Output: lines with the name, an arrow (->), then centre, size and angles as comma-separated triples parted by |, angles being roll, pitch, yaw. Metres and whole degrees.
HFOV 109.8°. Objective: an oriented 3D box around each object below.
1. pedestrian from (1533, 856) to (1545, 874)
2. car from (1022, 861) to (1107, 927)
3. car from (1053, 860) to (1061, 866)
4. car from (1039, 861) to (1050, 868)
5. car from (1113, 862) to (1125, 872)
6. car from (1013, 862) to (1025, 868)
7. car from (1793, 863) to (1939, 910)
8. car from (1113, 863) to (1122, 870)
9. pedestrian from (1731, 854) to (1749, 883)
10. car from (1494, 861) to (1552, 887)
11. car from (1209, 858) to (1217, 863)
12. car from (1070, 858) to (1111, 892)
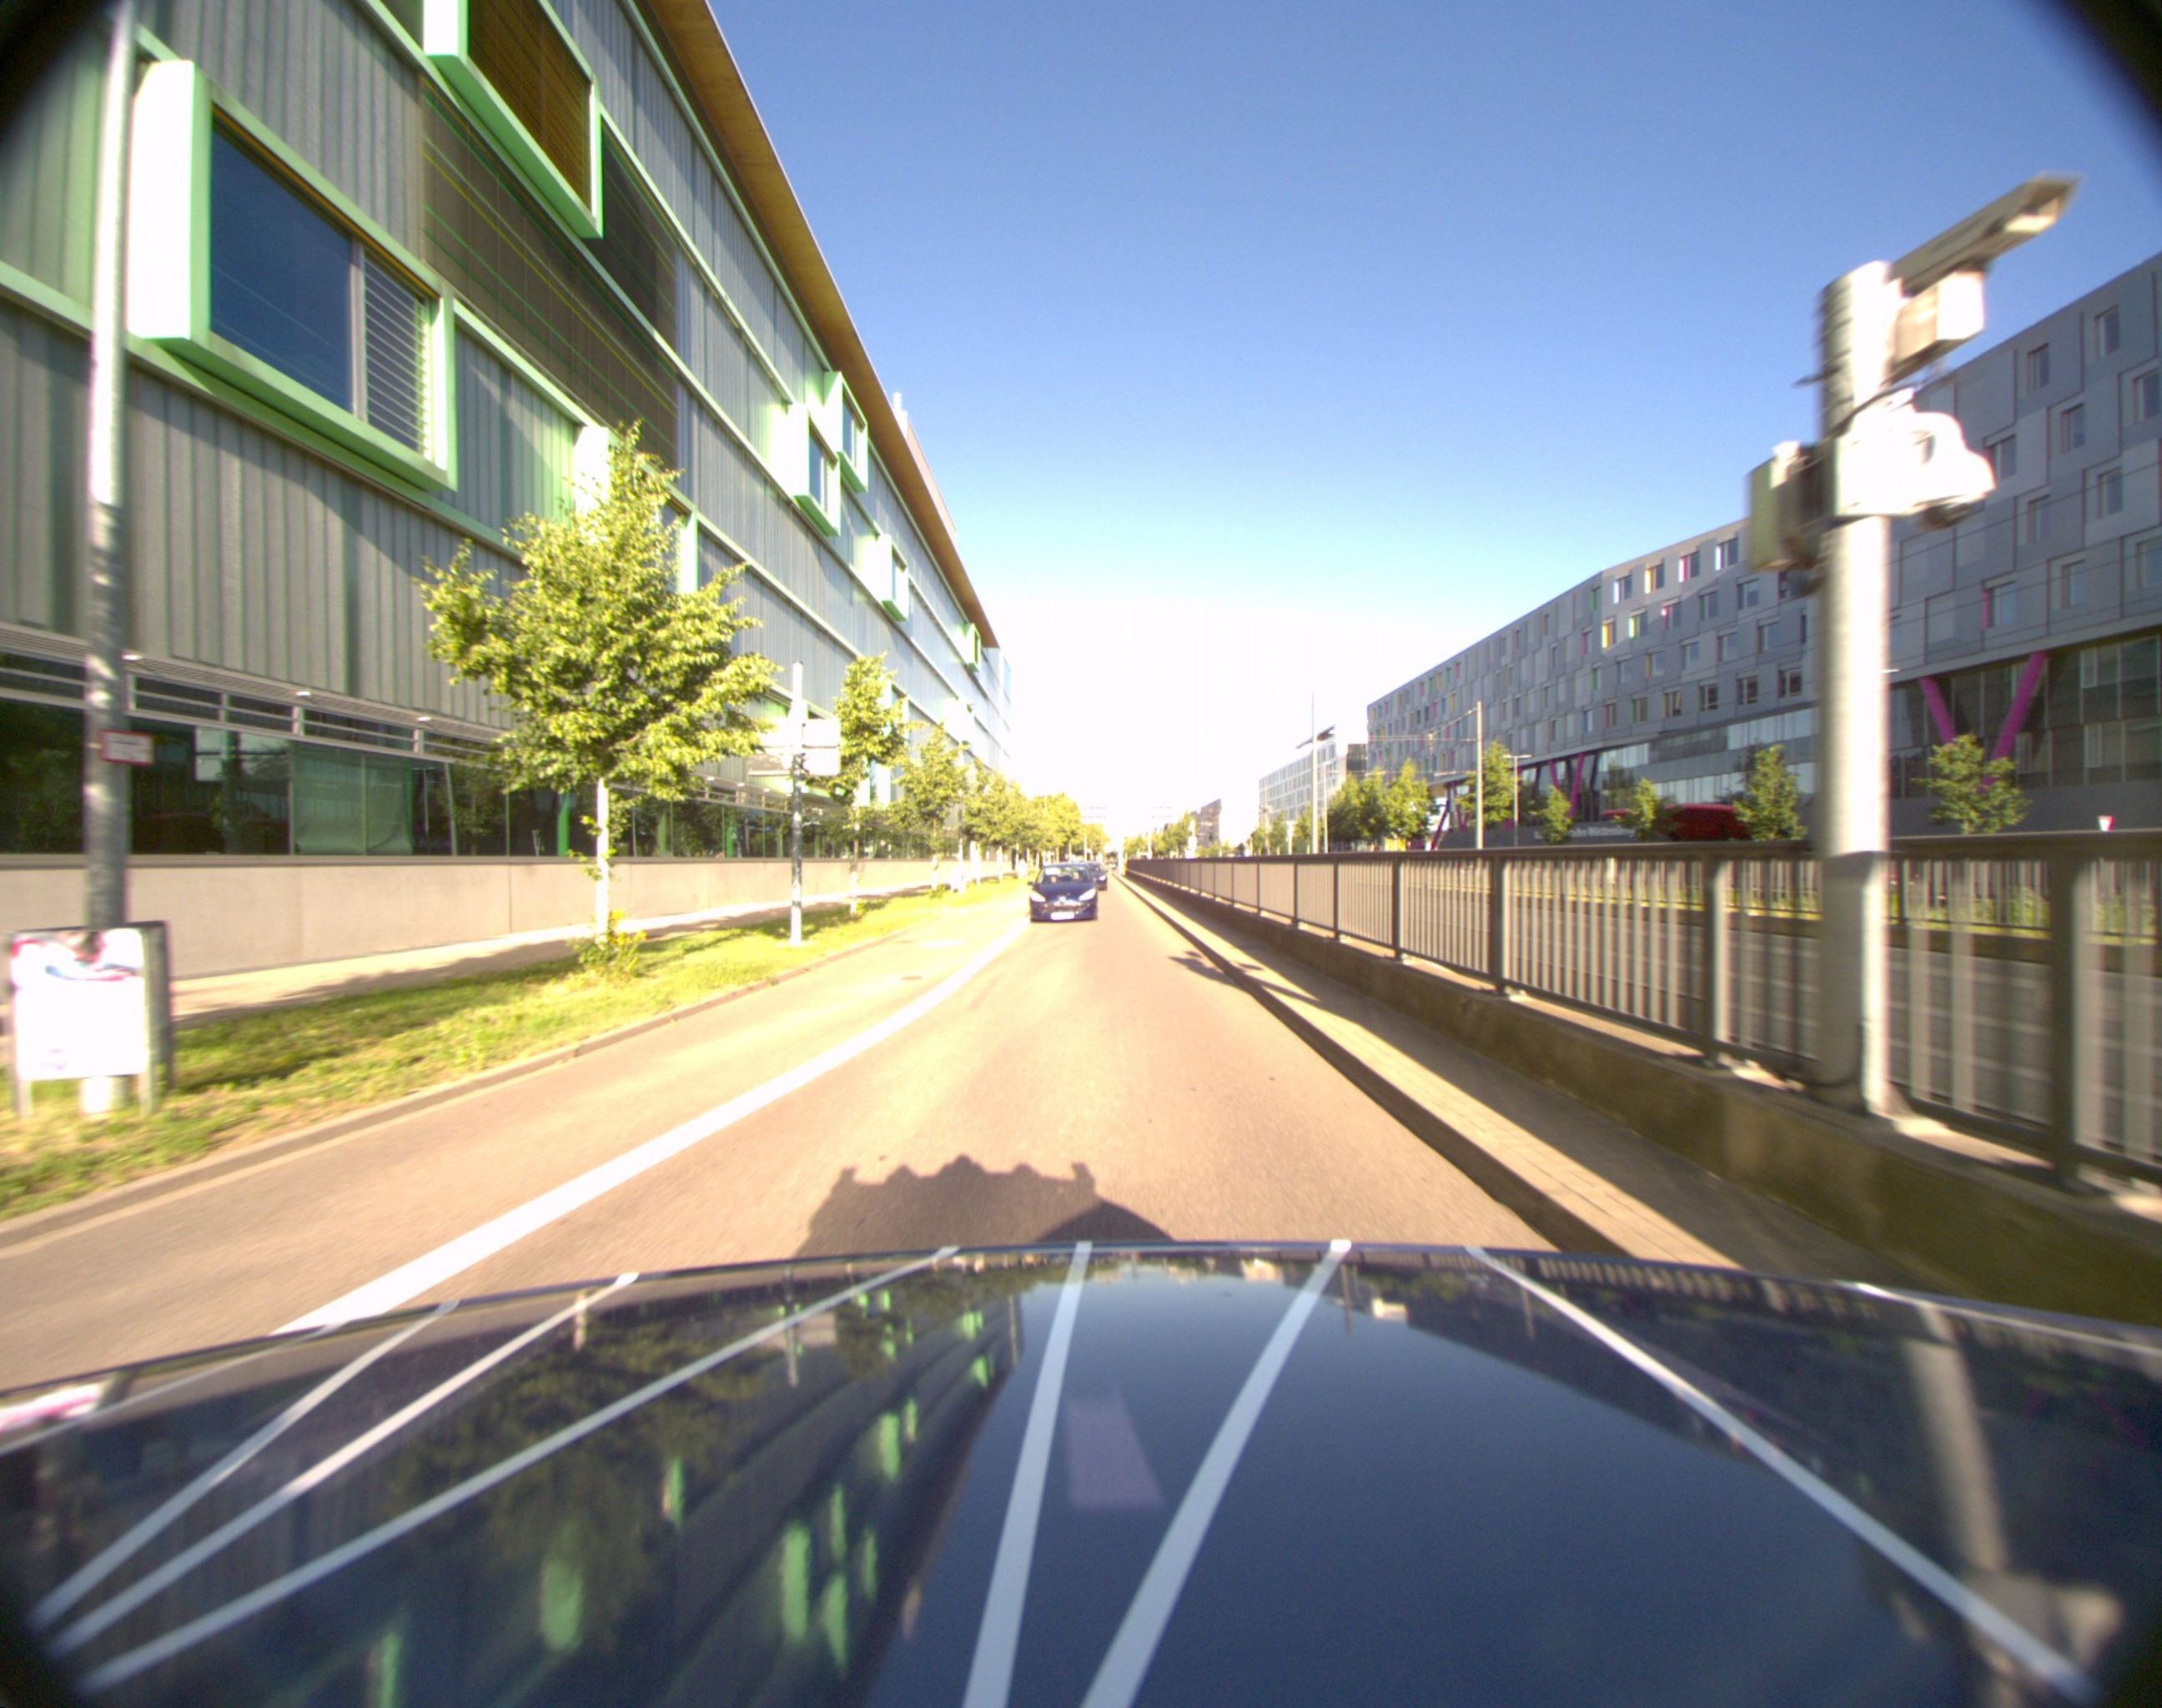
pedestrian -> 46.407, 1.105, 77.044 | 0.722, 1.811, 0.871 | 0, 0, 2
car -> -0.329, 1.001, 20.805 | 1.802, 1.518, 4.607 | -2, 0, 5
car -> -6.274, 2.360, 198.724 | 1.942, 1.372, 3.915 | -1, 0, 3
car -> -8.615, 2.482, 179.212 | 1.898, 1.479, 4.349 | -1, 0, 6
car -> 6.000, 1.960, 119.359 | 1.839, 1.483, 4.007 | -2, 0, 2
car -> -15.592, 2.722, 190.726 | 1.897, 1.477, 4.916 | -1, 0, 7
car -> 32.737, 1.300, 31.880 | 1.998, 1.828, 4.000 | 1, 0, 1
car -> 8.496, 2.950, 177.444 | 1.998, 1.543, 4.001 | -3, -1, 2
pedestrian -> 46.610, 1.034, 53.744 | 0.738, 2.002, 0.689 | 0, 0, 2
car -> 32.639, 1.472, 56.227 | 1.998, 1.828, 4.000 | 1, 0, 1
car -> 42.150, 2.064, 242.980 | 1.874, 1.347, 4.001 | -2, 0, 3
car -> 0.525, 1.013, 38.393 | 1.802, 1.518, 4.607 | -2, 0, 3
